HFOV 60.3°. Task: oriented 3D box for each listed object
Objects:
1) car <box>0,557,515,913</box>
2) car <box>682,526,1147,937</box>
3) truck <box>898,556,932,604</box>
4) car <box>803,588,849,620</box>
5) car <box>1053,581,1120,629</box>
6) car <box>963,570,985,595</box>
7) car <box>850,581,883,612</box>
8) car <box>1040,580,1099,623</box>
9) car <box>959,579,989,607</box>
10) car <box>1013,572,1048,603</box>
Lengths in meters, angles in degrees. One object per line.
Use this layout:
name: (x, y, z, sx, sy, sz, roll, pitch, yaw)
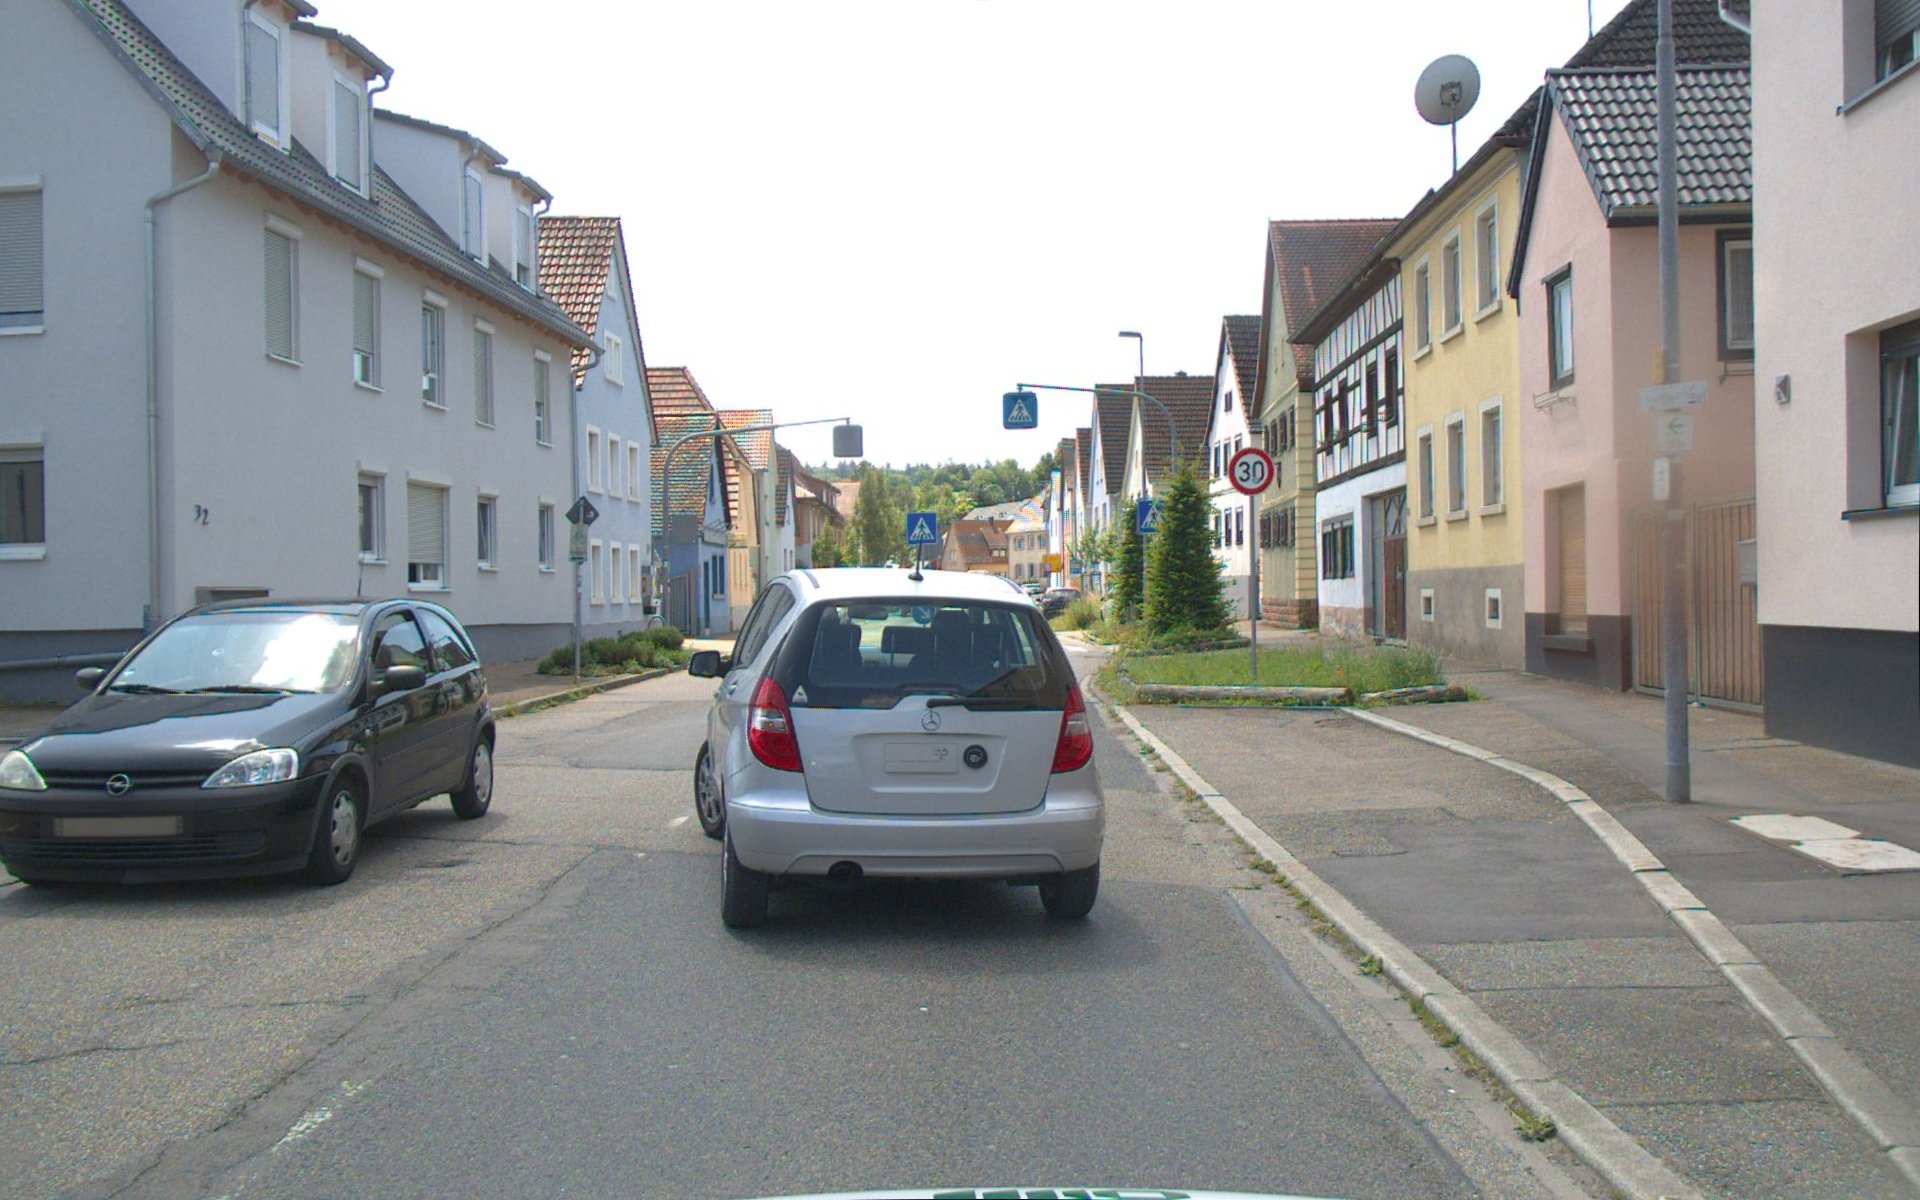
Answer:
car: (-3.756, 0.652, 9.365, 1.469, 1.567, 3.855, -1, -1, -1)
car: (-0.467, 0.553, 8.741, 1.779, 1.672, 3.717, 1, 0, -12)
truck: (-2.609, -1.138, 97.445, 1.953, 2.581, 6.737, 0, -2, -1)
car: (-5.921, 0.192, 72.830, 1.955, 1.344, 3.704, 0, -2, -5)
car: (4.213, 0.193, 55.713, 1.953, 1.534, 3.999, 0, -2, 0)
car: (1.221, -1.513, 145.387, 1.953, 2.049, 3.999, 0, -2, 0)
car: (-5.235, -0.171, 92.911, 1.633, 1.624, 3.999, 0, -2, 0)
car: (4.088, 0.074, 62.384, 1.953, 1.534, 3.999, 0, -2, 0)
car: (0.942, -0.458, 115.145, 1.953, 1.848, 3.998, 0, -2, -1)
car: (4.489, -0.761, 105.796, 1.953, 1.848, 3.998, 0, -2, -1)
